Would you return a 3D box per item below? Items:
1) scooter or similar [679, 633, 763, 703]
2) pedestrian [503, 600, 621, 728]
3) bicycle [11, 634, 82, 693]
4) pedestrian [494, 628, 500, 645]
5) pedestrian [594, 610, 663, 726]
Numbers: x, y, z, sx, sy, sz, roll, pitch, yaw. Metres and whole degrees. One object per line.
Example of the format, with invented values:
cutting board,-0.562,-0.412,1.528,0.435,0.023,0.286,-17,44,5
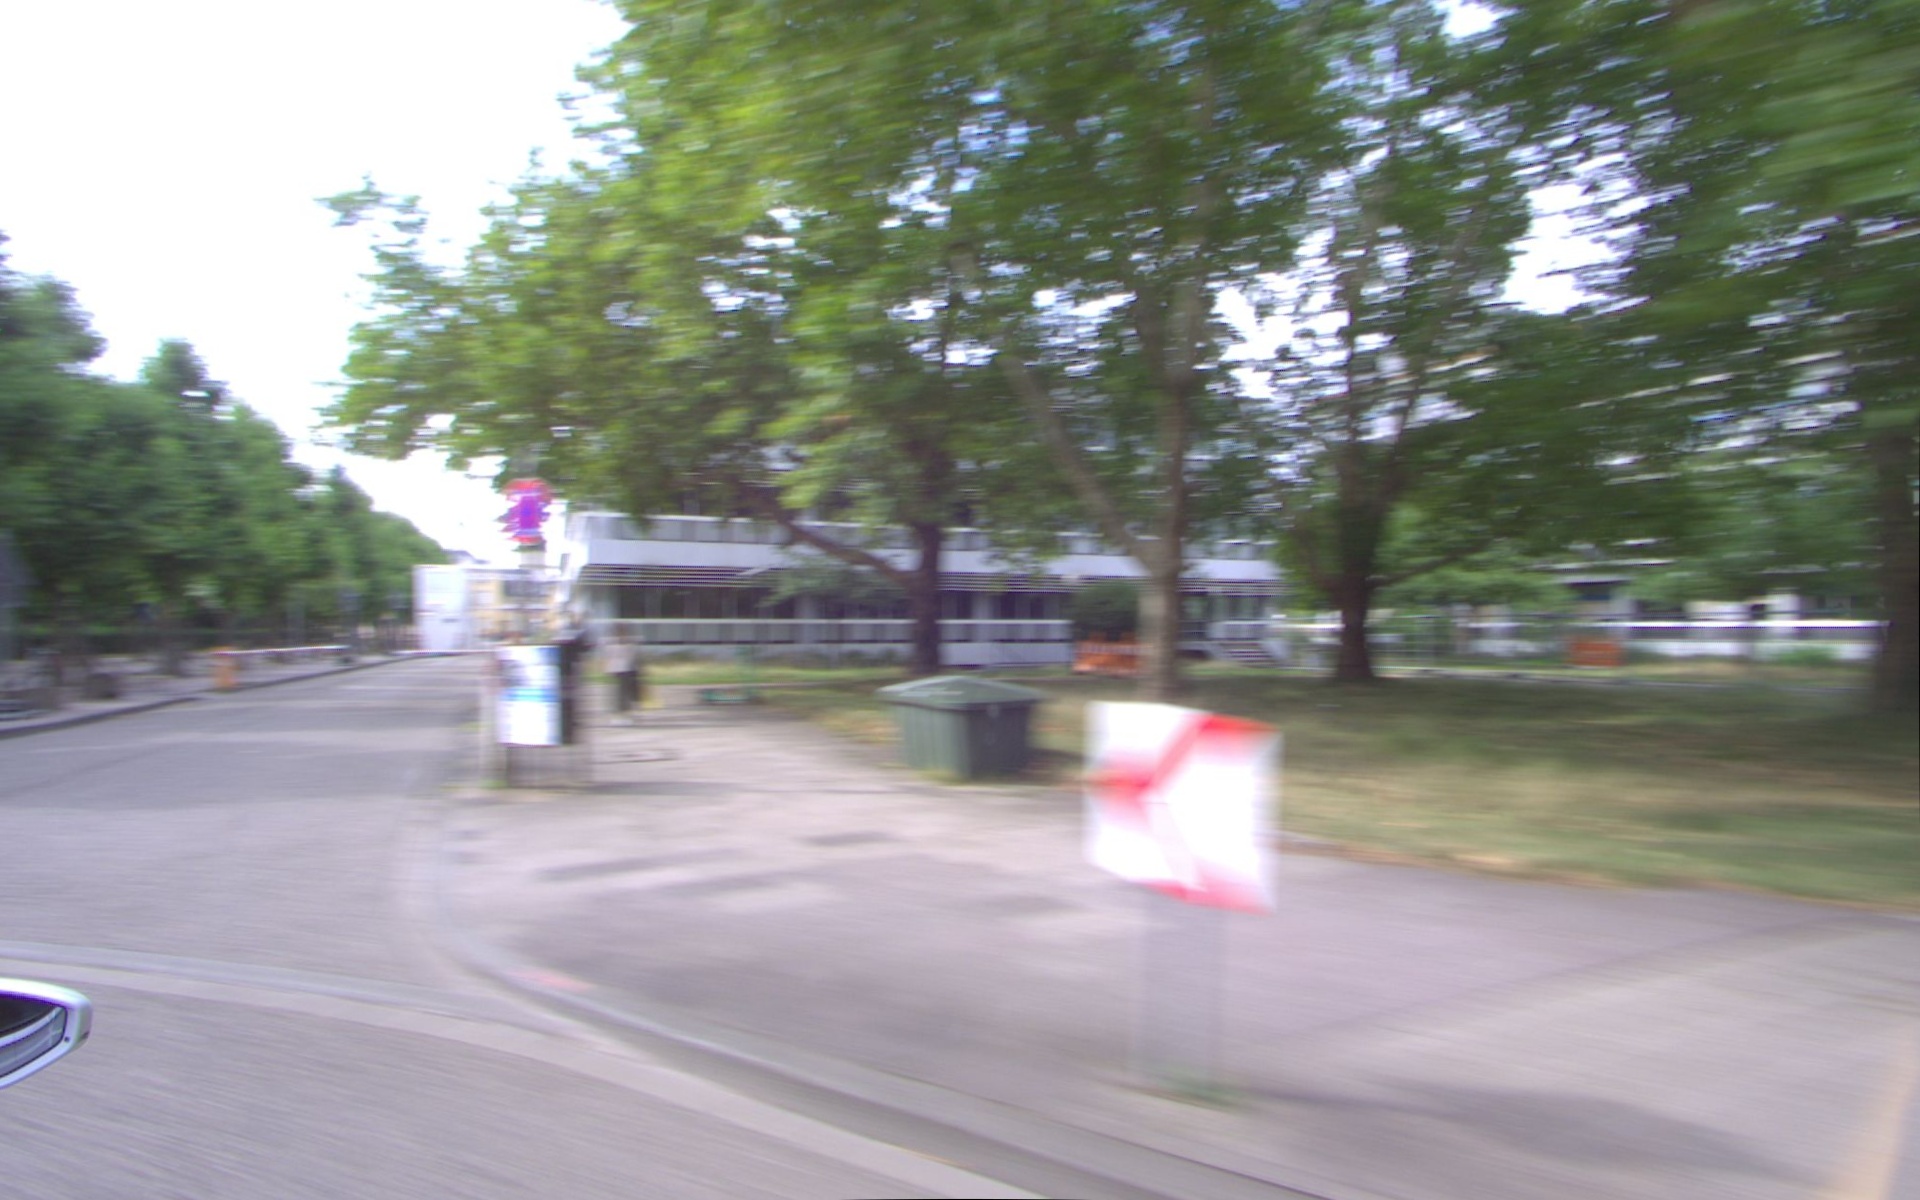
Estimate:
scooter or similar,-4.557,1.298,19.129,1.433,1.285,0.567,3,-1,-27
pedestrian,-5.812,0.916,14.667,0.949,1.764,1.250,1,-1,31
bicycle,-19.380,1.331,21.292,0.945,1.124,2.557,3,-2,-40
pedestrian,-45.596,3.605,98.610,0.455,1.646,0.627,2,-1,-36
pedestrian,-4.895,0.997,14.832,0.883,1.662,0.851,2,-1,-17
